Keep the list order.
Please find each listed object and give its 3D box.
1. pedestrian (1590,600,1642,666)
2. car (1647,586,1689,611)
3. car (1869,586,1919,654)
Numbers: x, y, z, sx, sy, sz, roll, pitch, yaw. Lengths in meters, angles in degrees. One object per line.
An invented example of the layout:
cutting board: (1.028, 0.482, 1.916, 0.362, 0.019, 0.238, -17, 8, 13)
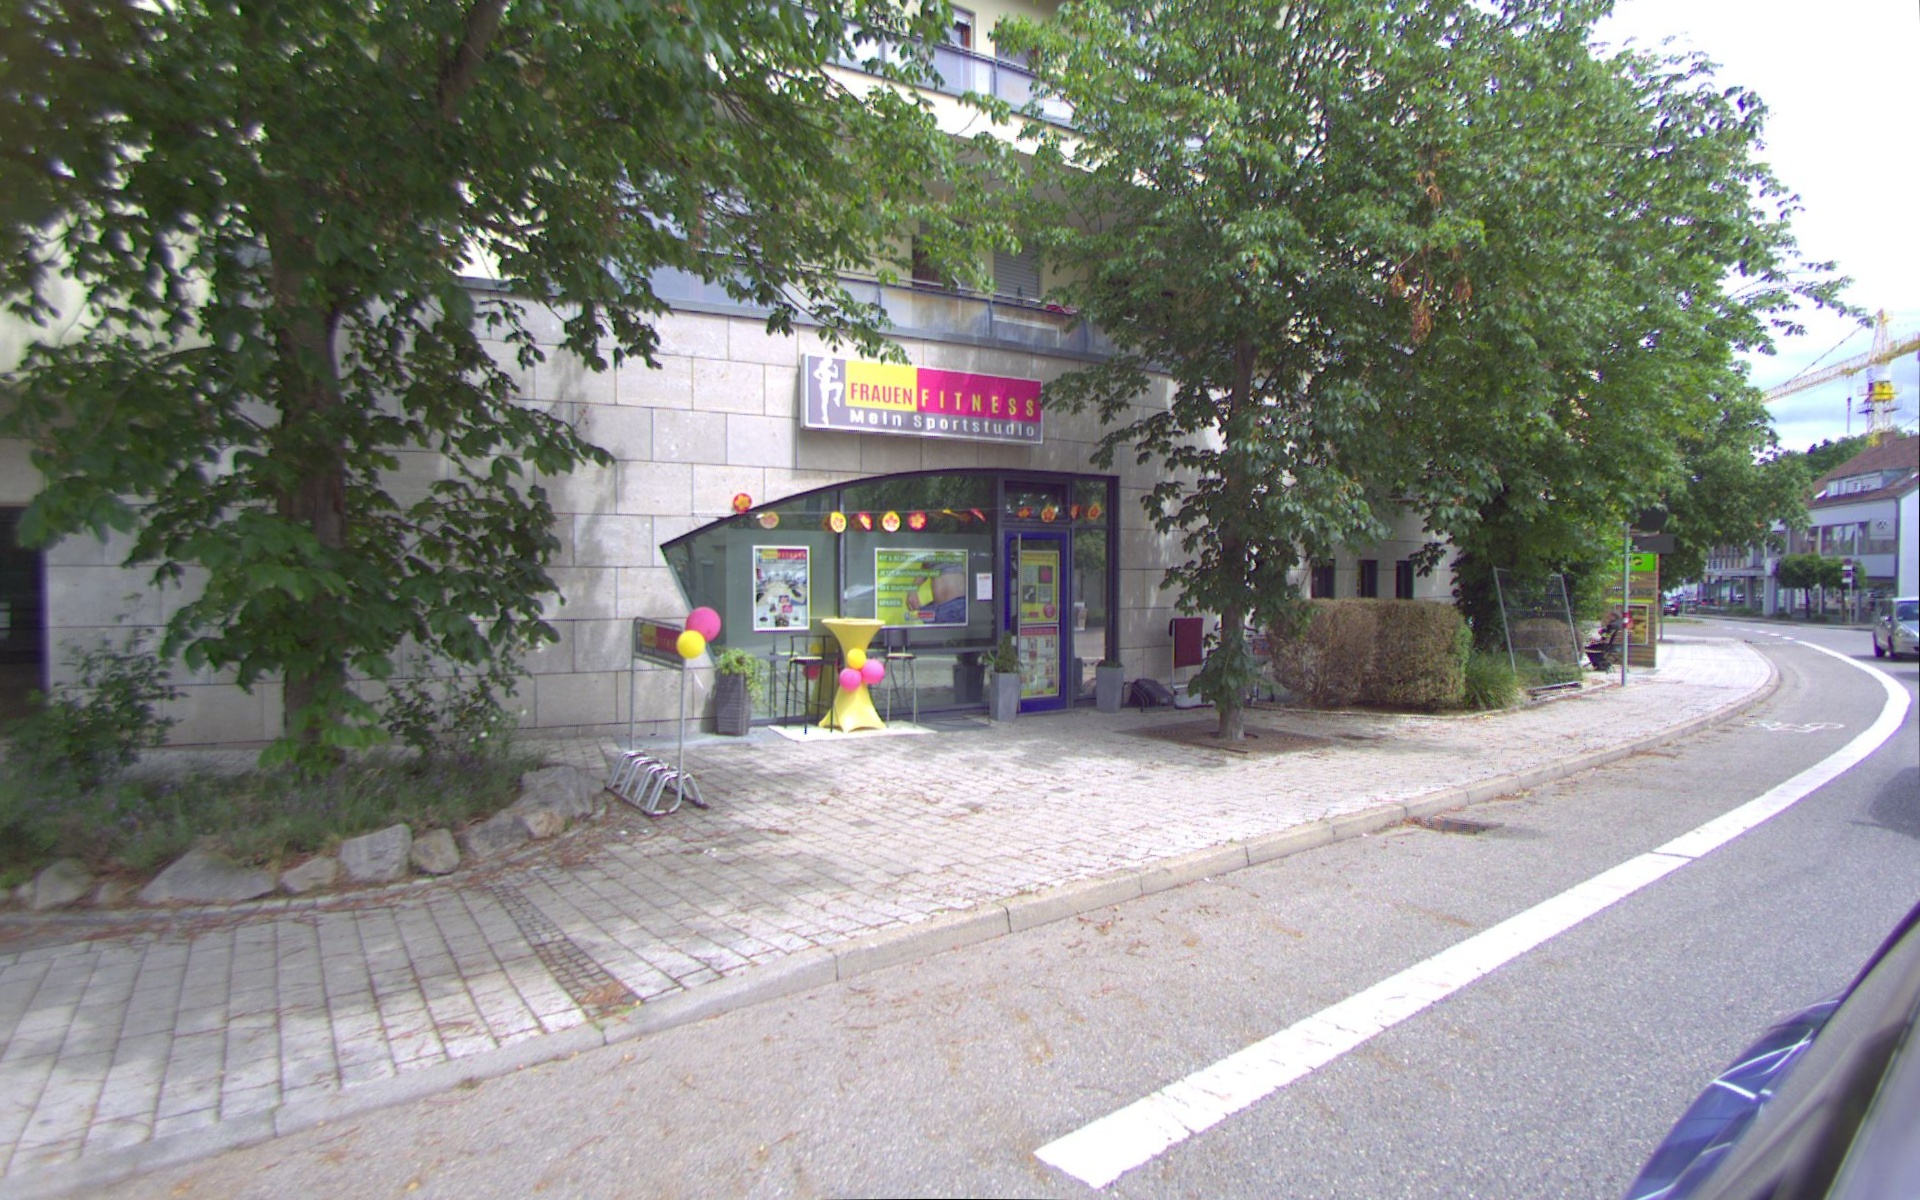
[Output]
pedestrian: (13.678, 0.669, 21.094, 0.741, 1.317, 0.730, 0, 1, -42)
car: (55.589, -0.156, 79.526, 1.721, 1.874, 3.972, 1, 1, 21)
car: (23.504, 0.433, 24.346, 1.681, 1.505, 3.956, -2, 0, 31)
